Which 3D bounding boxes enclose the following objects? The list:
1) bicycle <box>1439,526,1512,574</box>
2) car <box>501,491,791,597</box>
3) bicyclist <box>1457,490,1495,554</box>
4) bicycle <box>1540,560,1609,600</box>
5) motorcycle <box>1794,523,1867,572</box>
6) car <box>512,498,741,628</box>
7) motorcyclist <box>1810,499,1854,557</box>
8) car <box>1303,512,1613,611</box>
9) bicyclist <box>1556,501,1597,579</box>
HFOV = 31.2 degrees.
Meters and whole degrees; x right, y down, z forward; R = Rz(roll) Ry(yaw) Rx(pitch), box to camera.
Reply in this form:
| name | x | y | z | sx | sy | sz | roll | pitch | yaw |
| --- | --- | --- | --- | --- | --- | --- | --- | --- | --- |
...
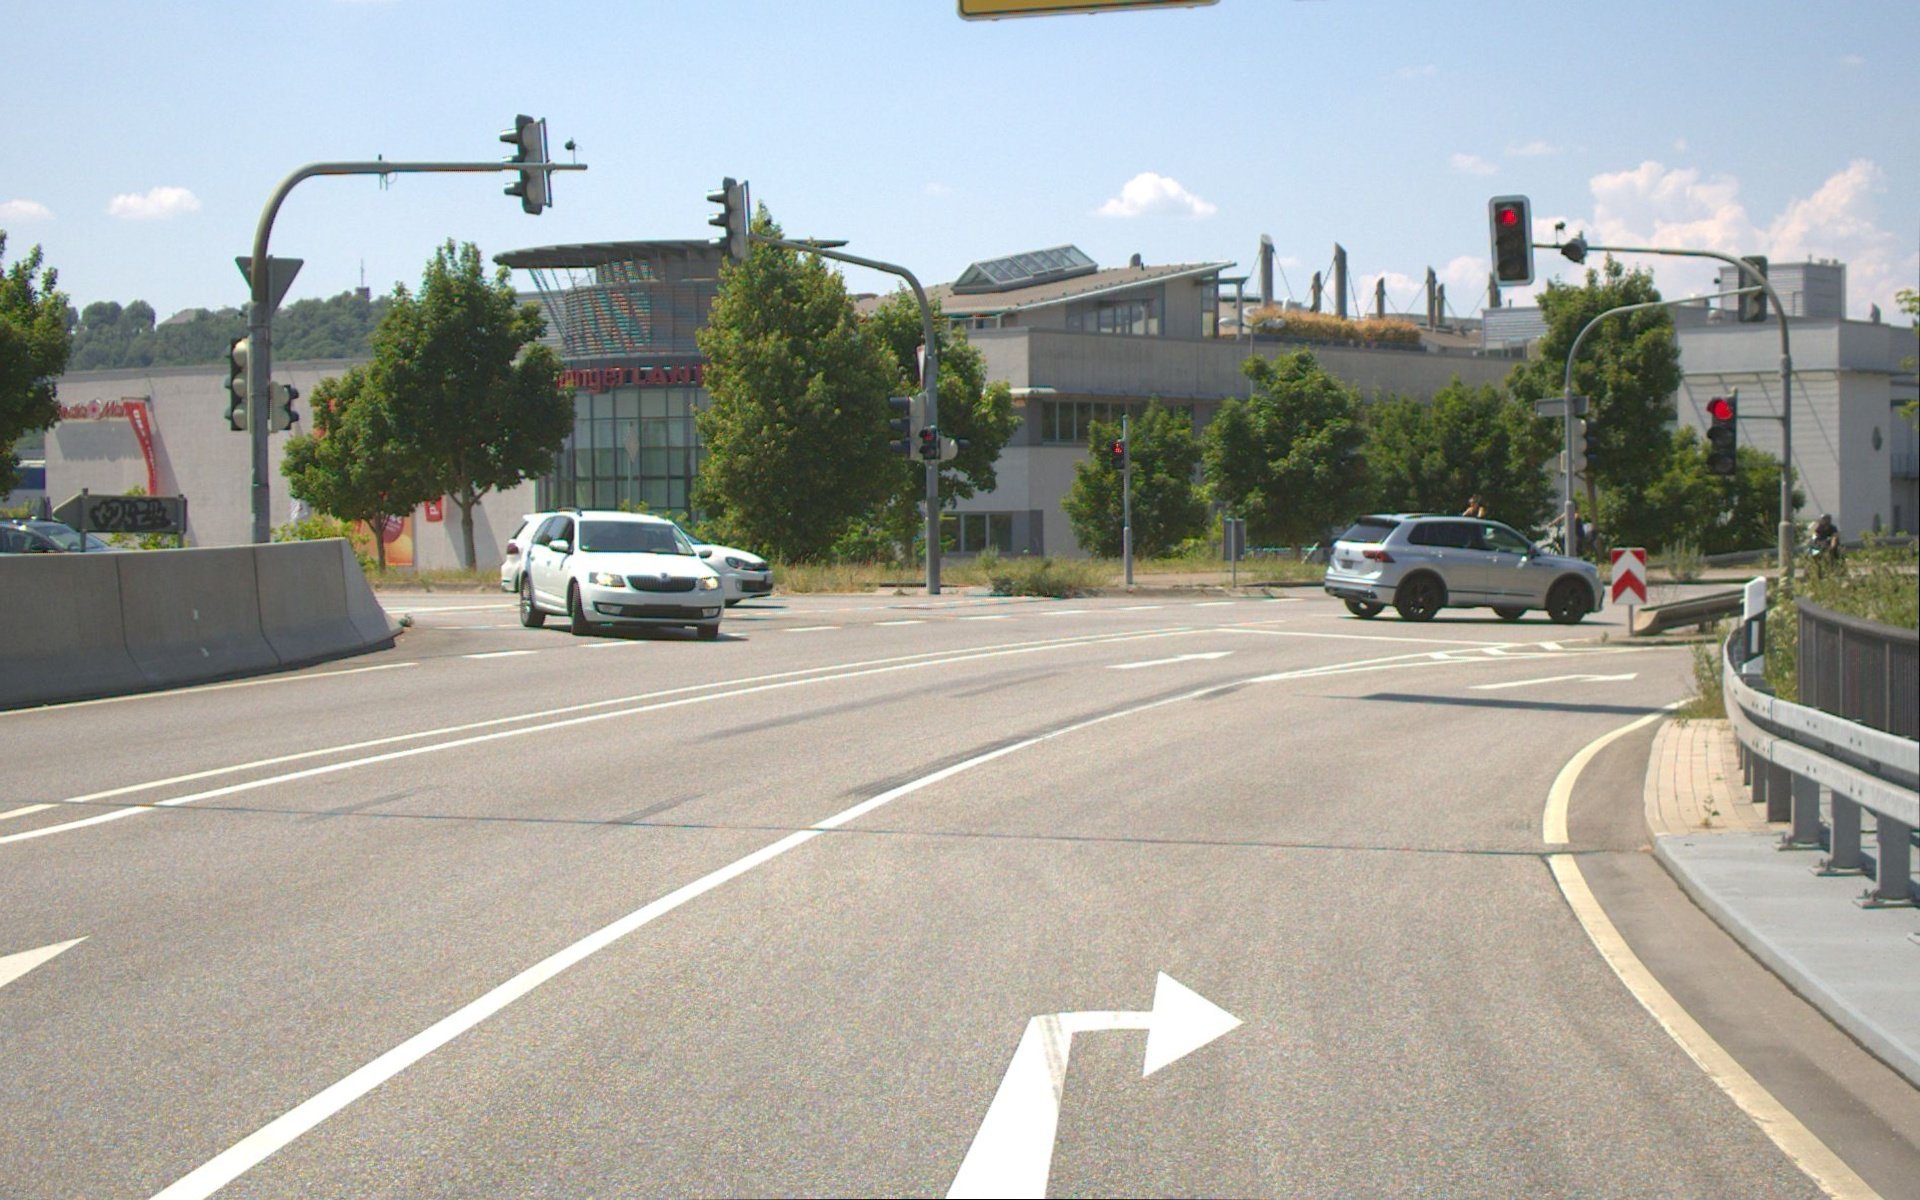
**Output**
| name | x | y | z | sx | sy | sz | roll | pitch | yaw |
| --- | --- | --- | --- | --- | --- | --- | --- | --- | --- |
| bicycle | 11.497 | -1.116 | 76.714 | 1.826 | 1.021 | 0.415 | 0 | 3 | -37 |
| car | -4.835 | -0.890 | 53.352 | 4.123 | 1.481 | 2.000 | 2 | 2 | 7 |
| bicyclist | 11.508 | -1.740 | 76.678 | 0.683 | 1.399 | 0.408 | 1 | 2 | -37 |
| bicycle | 13.743 | -0.452 | 76.860 | 0.534 | 0.849 | 2.122 | 4 | 3 | 38 |
| motorcycle | 19.448 | -1.179 | 76.783 | 0.564 | 1.076 | 2.279 | 1 | 1 | 42 |
| car | -4.118 | -0.486 | 41.824 | 1.787 | 1.490 | 4.553 | 0 | 2 | -18 |
| motorcyclist | 19.488 | -1.604 | 76.834 | 0.676 | 1.298 | 0.722 | 0 | 0 | 42 |
| car | 7.774 | -0.609 | 53.710 | 4.380 | 1.500 | 2.000 | -1 | 0 | -23 |
| bicyclist | 13.775 | -1.346 | 76.817 | 0.531 | 1.711 | 0.729 | 4 | 3 | 38 |
